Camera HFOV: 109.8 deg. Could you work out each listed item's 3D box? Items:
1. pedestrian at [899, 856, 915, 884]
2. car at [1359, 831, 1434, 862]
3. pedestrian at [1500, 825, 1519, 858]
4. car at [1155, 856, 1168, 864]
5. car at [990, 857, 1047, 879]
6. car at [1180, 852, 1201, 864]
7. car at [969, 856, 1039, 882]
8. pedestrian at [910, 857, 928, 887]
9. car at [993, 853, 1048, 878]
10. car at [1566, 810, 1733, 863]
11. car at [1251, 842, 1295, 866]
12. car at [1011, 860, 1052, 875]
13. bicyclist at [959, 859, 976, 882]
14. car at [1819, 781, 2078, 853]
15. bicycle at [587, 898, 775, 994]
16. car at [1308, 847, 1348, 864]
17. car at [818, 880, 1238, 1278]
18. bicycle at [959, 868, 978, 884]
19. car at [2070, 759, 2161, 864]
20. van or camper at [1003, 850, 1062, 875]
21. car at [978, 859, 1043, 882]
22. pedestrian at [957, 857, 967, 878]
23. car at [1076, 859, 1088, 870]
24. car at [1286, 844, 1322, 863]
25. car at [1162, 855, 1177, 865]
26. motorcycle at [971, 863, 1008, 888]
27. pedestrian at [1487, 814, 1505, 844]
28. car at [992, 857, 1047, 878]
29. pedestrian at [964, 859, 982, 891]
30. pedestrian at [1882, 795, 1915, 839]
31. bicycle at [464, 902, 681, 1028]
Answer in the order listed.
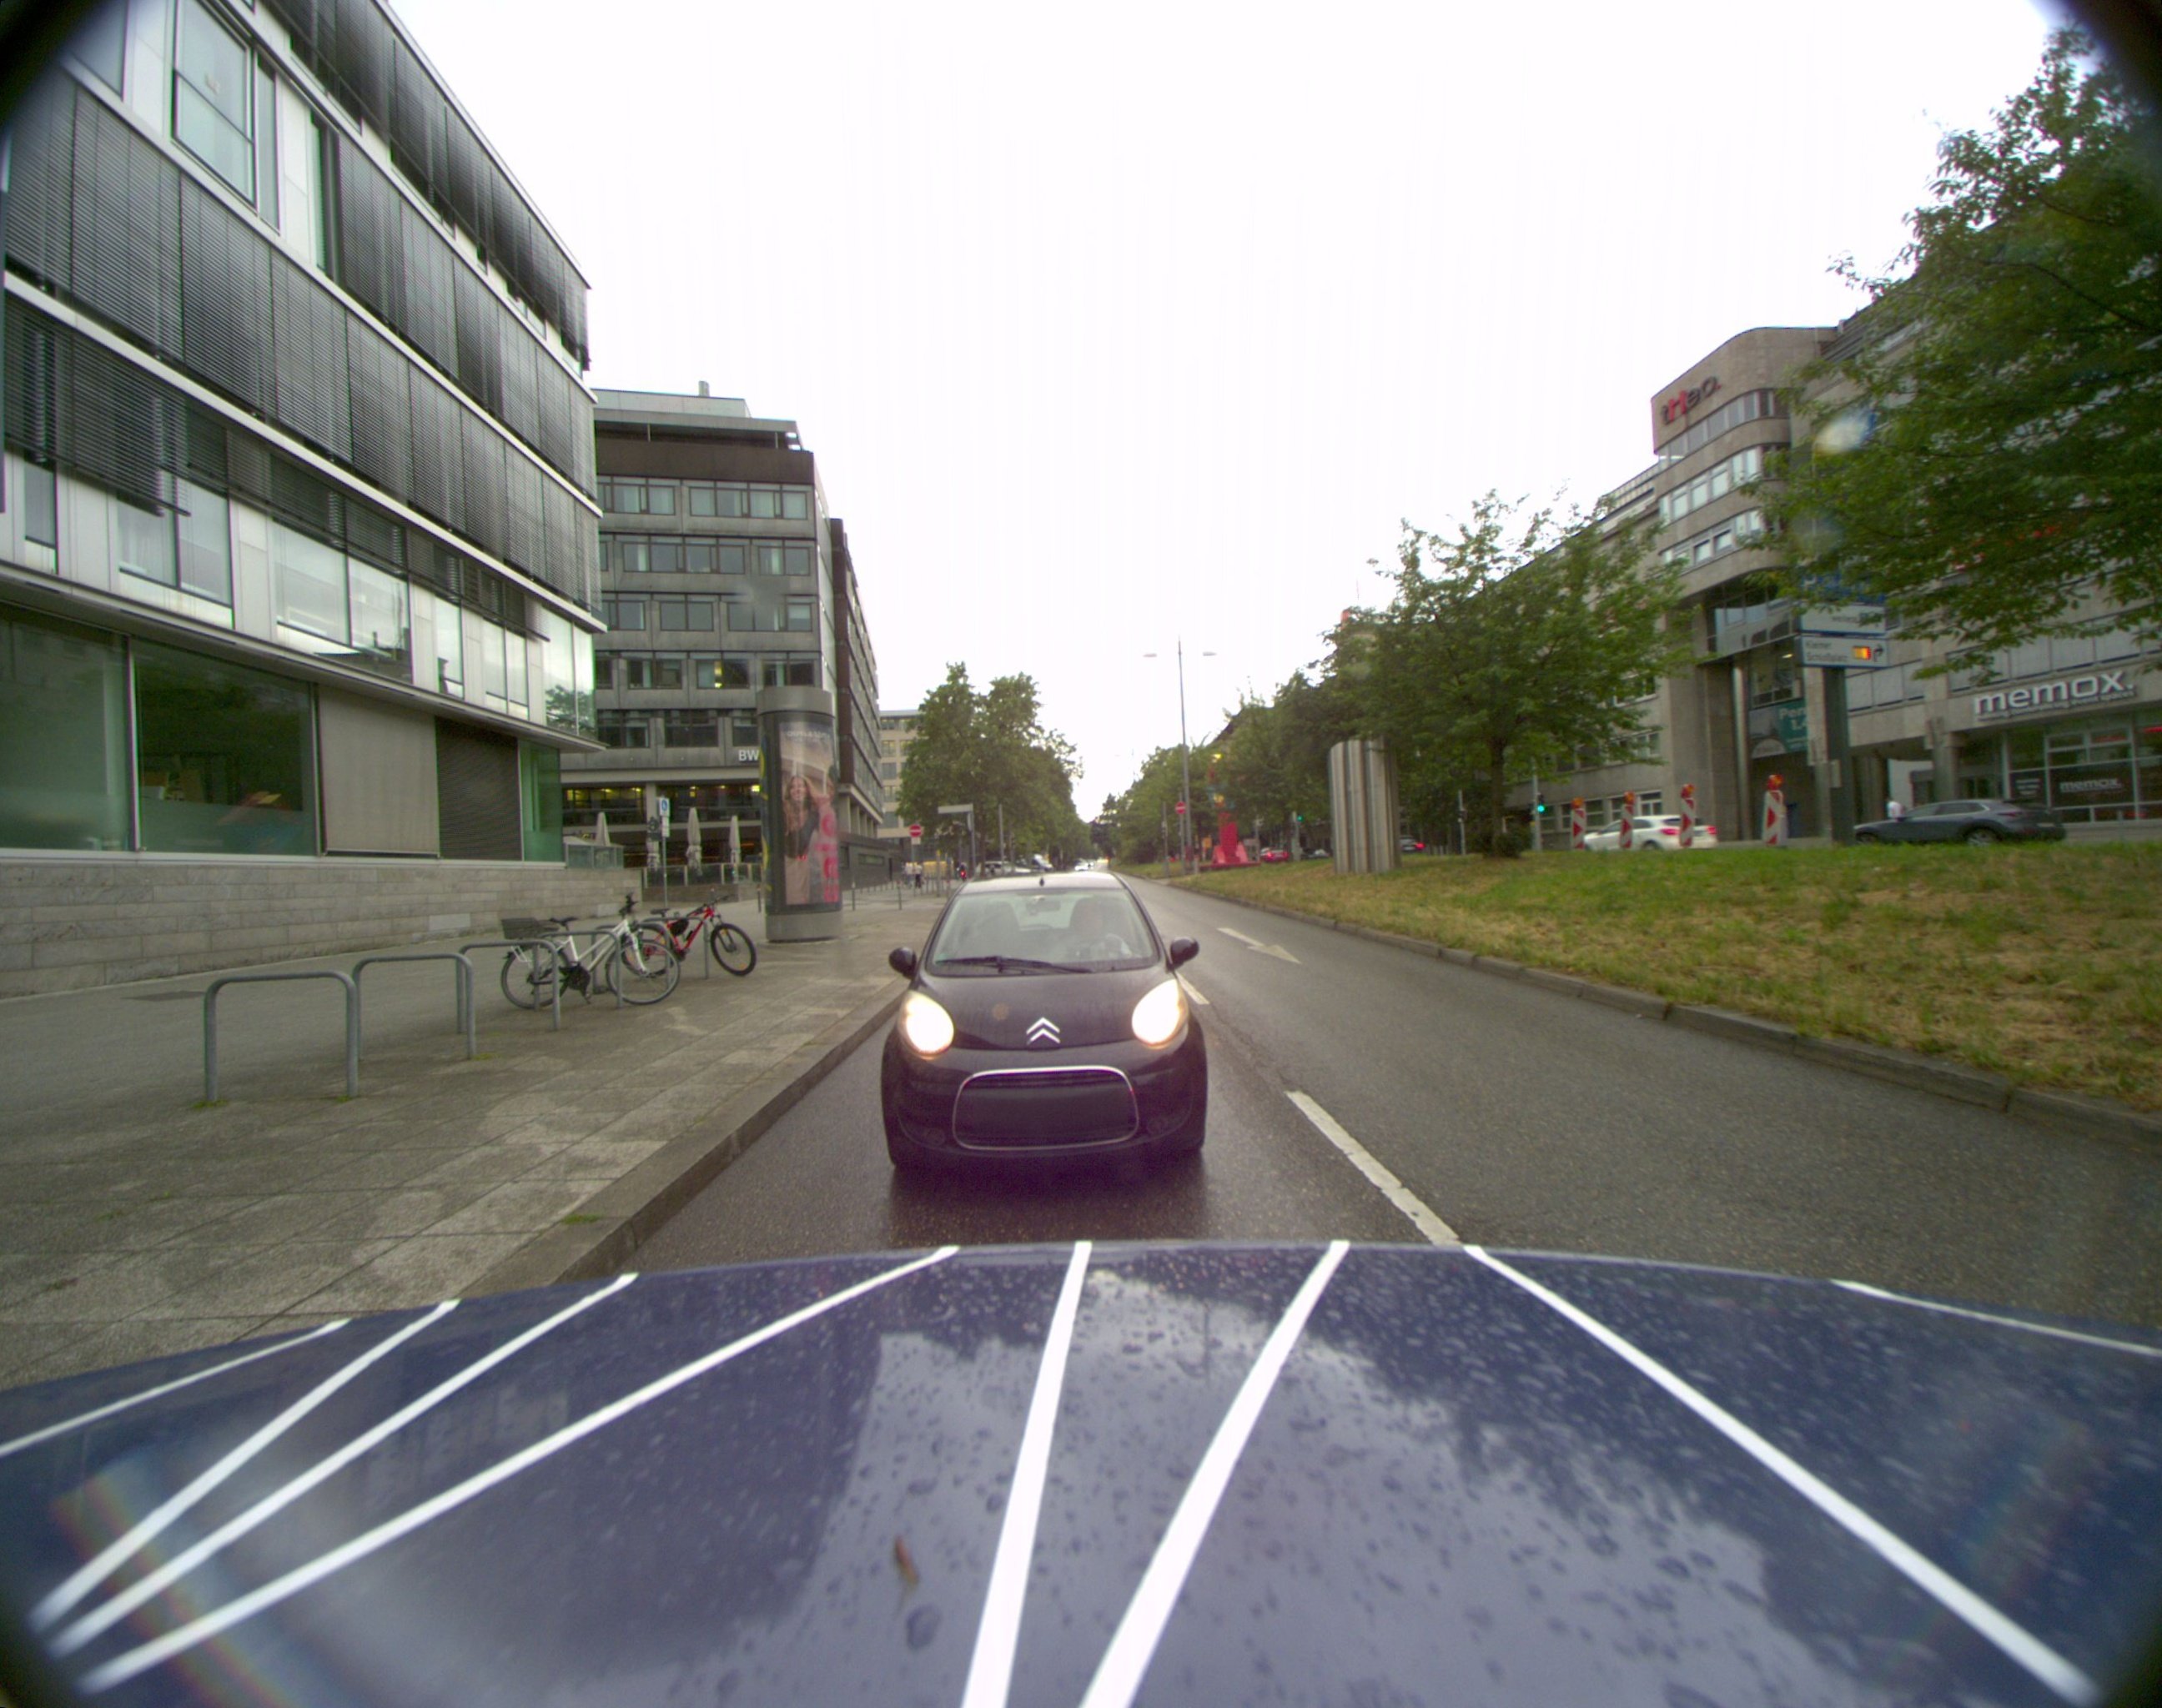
[{"bbox_3d":[-11.813,1.088,51.675,0.803,1.857,0.898,-3,0,0],"label":"pedestrian"},{"bbox_3d":[16.621,-0.342,40.232,1.873,1.466,3.997,-3,0,-8],"label":"car"},{"bbox_3d":[23.336,-0.674,41.357,0.529,1.777,0.721,-3,0,1],"label":"pedestrian"},{"bbox_3d":[14.867,1.103,140.349,1.794,1.406,4.000,-1,-1,-1],"label":"car"},{"bbox_3d":[-5.255,1.186,63.614,4.347,1.528,1.919,-4,0,27],"label":"car"},{"bbox_3d":[13.683,0.483,95.095,1.866,1.421,4.132,-2,0,-2],"label":"car"},{"bbox_3d":[-5.640,1.104,55.617,4.792,1.640,1.920,-4,0,30],"label":"car"},{"bbox_3d":[-11.042,1.228,51.861,0.851,2.027,0.753,-3,0,7],"label":"pedestrian"},{"bbox_3d":[-5.533,1.061,69.264,4.507,1.981,1.925,-4,0,29],"label":"car"},{"bbox_3d":[18.000,-0.489,24.339,1.825,1.466,4.190,-3,0,-8],"label":"car"},{"bbox_3d":[15.120,0.020,59.940,1.951,1.690,3.997,-3,0,-8],"label":"car"},{"bbox_3d":[-5.381,1.448,82.711,4.052,1.415,1.711,-4,0,29],"label":"car"},{"bbox_3d":[-9.014,1.310,60.457,0.811,1.739,1.080,-6,2,9],"label":"bicyclist"},{"bbox_3d":[24.736,-0.969,22.022,1.867,1.715,4.791,-2,0,-3],"label":"car"},{"bbox_3d":[-5.135,1.166,9.823,1.988,1.097,0.808,-2,0,4],"label":"bicycle"},{"bbox_3d":[21.686,0.143,66.923,1.867,1.421,4.565,-2,0,-3],"label":"car"},{"bbox_3d":[-0.268,0.976,5.006,1.634,1.408,3.834,-3,0,-2],"label":"car"},{"bbox_3d":[-8.965,1.736,60.466,0.776,1.132,1.979,-6,0,10],"label":"bicycle"},{"bbox_3d":[18.805,-0.753,11.383,1.730,1.717,4.579,-3,0,-8],"label":"car"},{"bbox_3d":[-5.518,1.015,86.377,6.251,2.432,2.319,-4,0,30],"label":"van or camper"},{"bbox_3d":[-5.494,1.260,58.692,4.711,1.465,1.920,-4,0,32],"label":"car"},{"bbox_3d":[-10.694,1.206,68.217,0.721,1.873,0.656,-3,0,-6],"label":"pedestrian"},{"bbox_3d":[0.161,1.775,127.718,1.791,1.736,4.574,-2,0,-3],"label":"car"},{"bbox_3d":[21.081,-0.016,72.110,1.867,1.612,4.467,-2,0,-3],"label":"car"},{"bbox_3d":[14.003,0.995,120.354,1.866,1.421,4.566,-2,0,-1],"label":"car"},{"bbox_3d":[-5.541,1.287,46.064,2.087,1.349,0.677,-3,0,7],"label":"motorcycle"},{"bbox_3d":[23.067,-1.382,42.260,0.607,1.619,0.620,-3,0,1],"label":"pedestrian"},{"bbox_3d":[-5.370,1.200,66.382,4.381,1.528,1.919,-4,0,27],"label":"car"},{"bbox_3d":[-5.970,1.160,42.059,0.528,1.675,0.723,-3,0,43],"label":"pedestrian"},{"bbox_3d":[34.699,-1.554,32.253,0.721,1.777,0.529,-3,0,-2],"label":"pedestrian"},{"bbox_3d":[-5.296,1.143,7.972,1.840,1.190,0.660,-1,0,4],"label":"bicycle"}]
